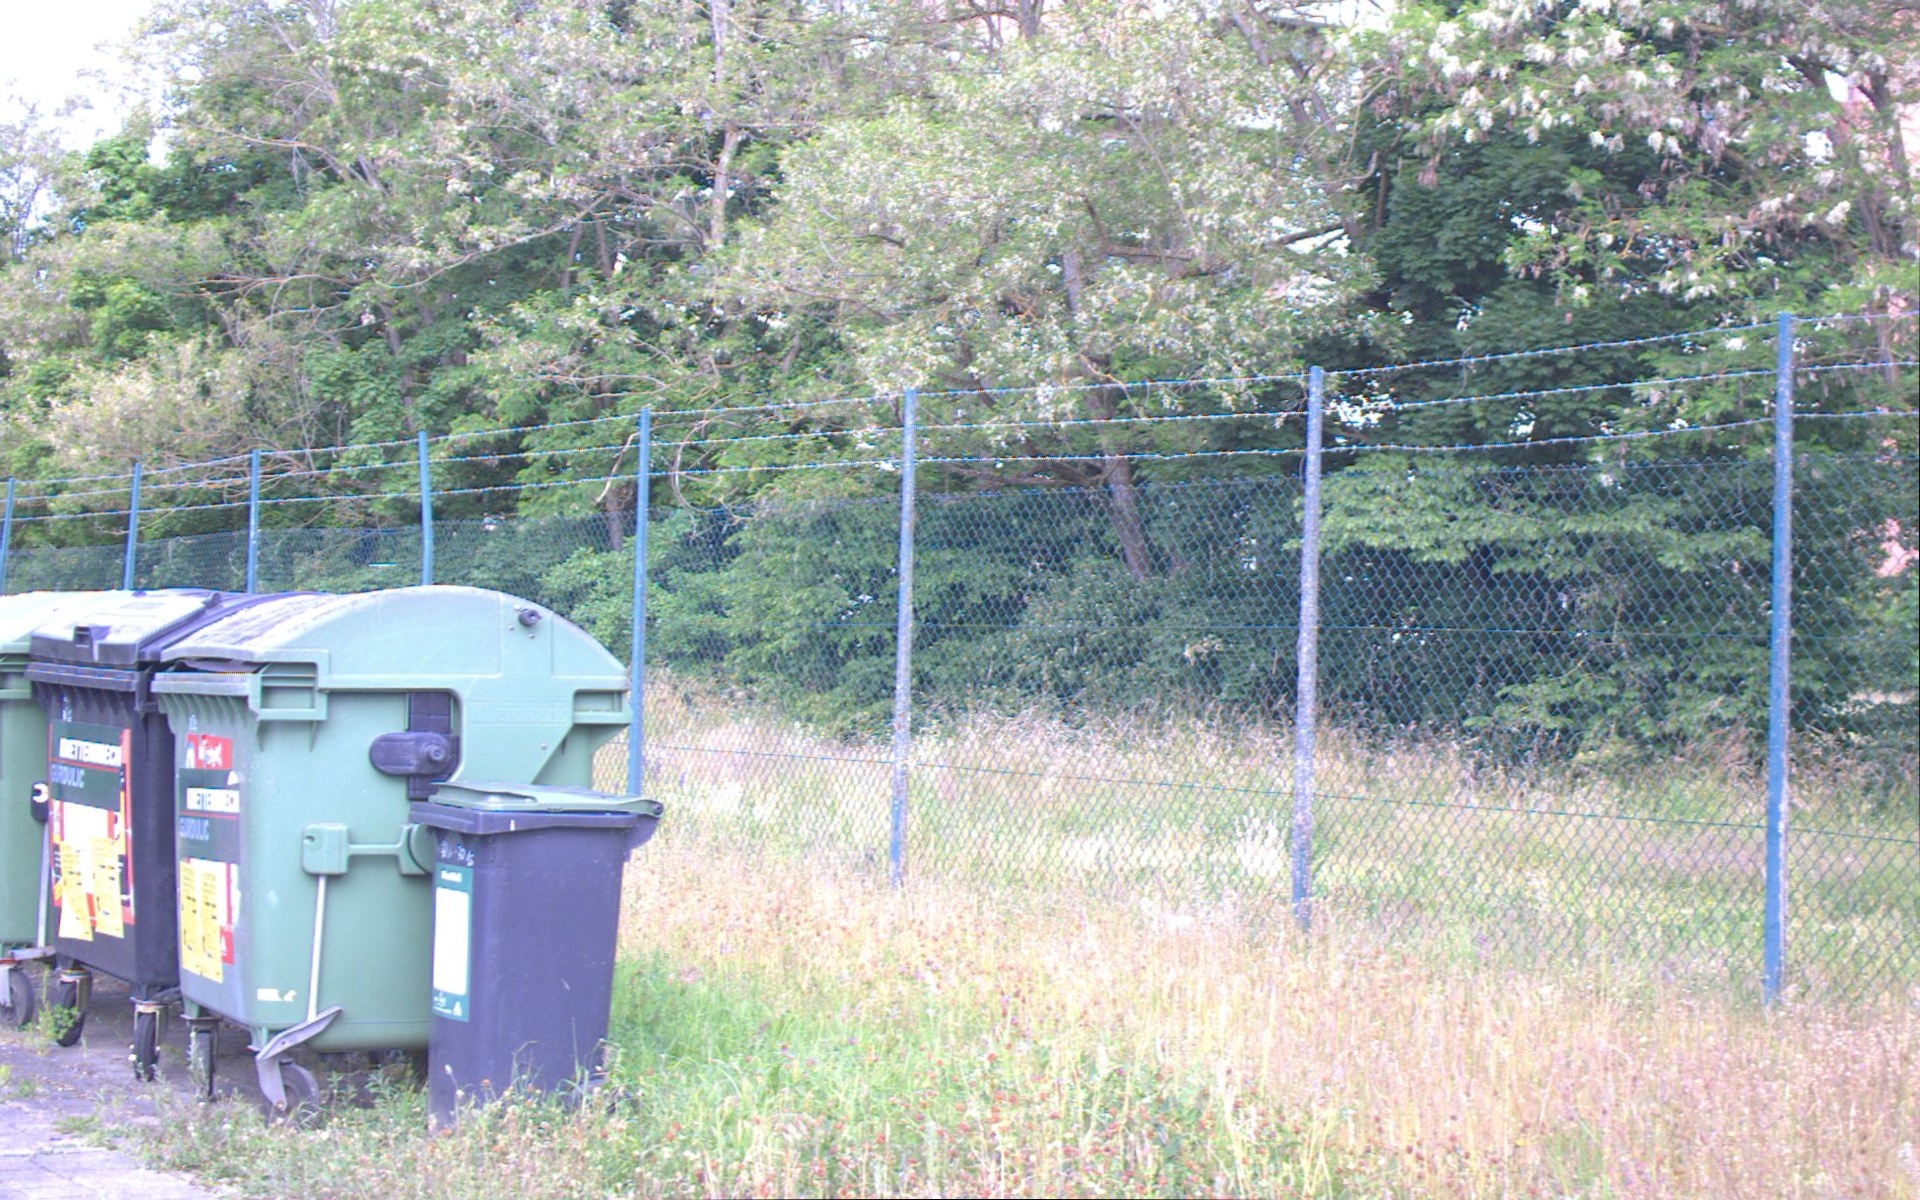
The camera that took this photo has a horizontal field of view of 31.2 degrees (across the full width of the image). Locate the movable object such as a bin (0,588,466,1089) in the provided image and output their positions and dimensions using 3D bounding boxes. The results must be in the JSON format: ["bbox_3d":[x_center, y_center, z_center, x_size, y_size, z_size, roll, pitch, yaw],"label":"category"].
[{"bbox_3d":[-2.312,0.702,10.679,1.069,1.430,1.398,2,-2,-29],"label":"movable object such as a bin"}]

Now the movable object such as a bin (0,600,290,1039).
[{"bbox_3d":[-3.055,0.719,11.787,1.069,1.401,1.385,2,-2,-29],"label":"movable object such as a bin"}]

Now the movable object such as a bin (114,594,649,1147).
[{"bbox_3d":[-1.630,0.704,9.506,1.128,1.391,1.356,2,-2,-23],"label":"movable object such as a bin"}]

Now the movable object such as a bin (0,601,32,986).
[{"bbox_3d":[-4.176,0.696,12.959,1.122,1.393,1.385,2,-1,-21],"label":"movable object such as a bin"}]

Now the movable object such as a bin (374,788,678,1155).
[{"bbox_3d":[-1.102,0.921,8.688,0.599,0.863,0.586,2,-2,-23],"label":"movable object such as a bin"}]
